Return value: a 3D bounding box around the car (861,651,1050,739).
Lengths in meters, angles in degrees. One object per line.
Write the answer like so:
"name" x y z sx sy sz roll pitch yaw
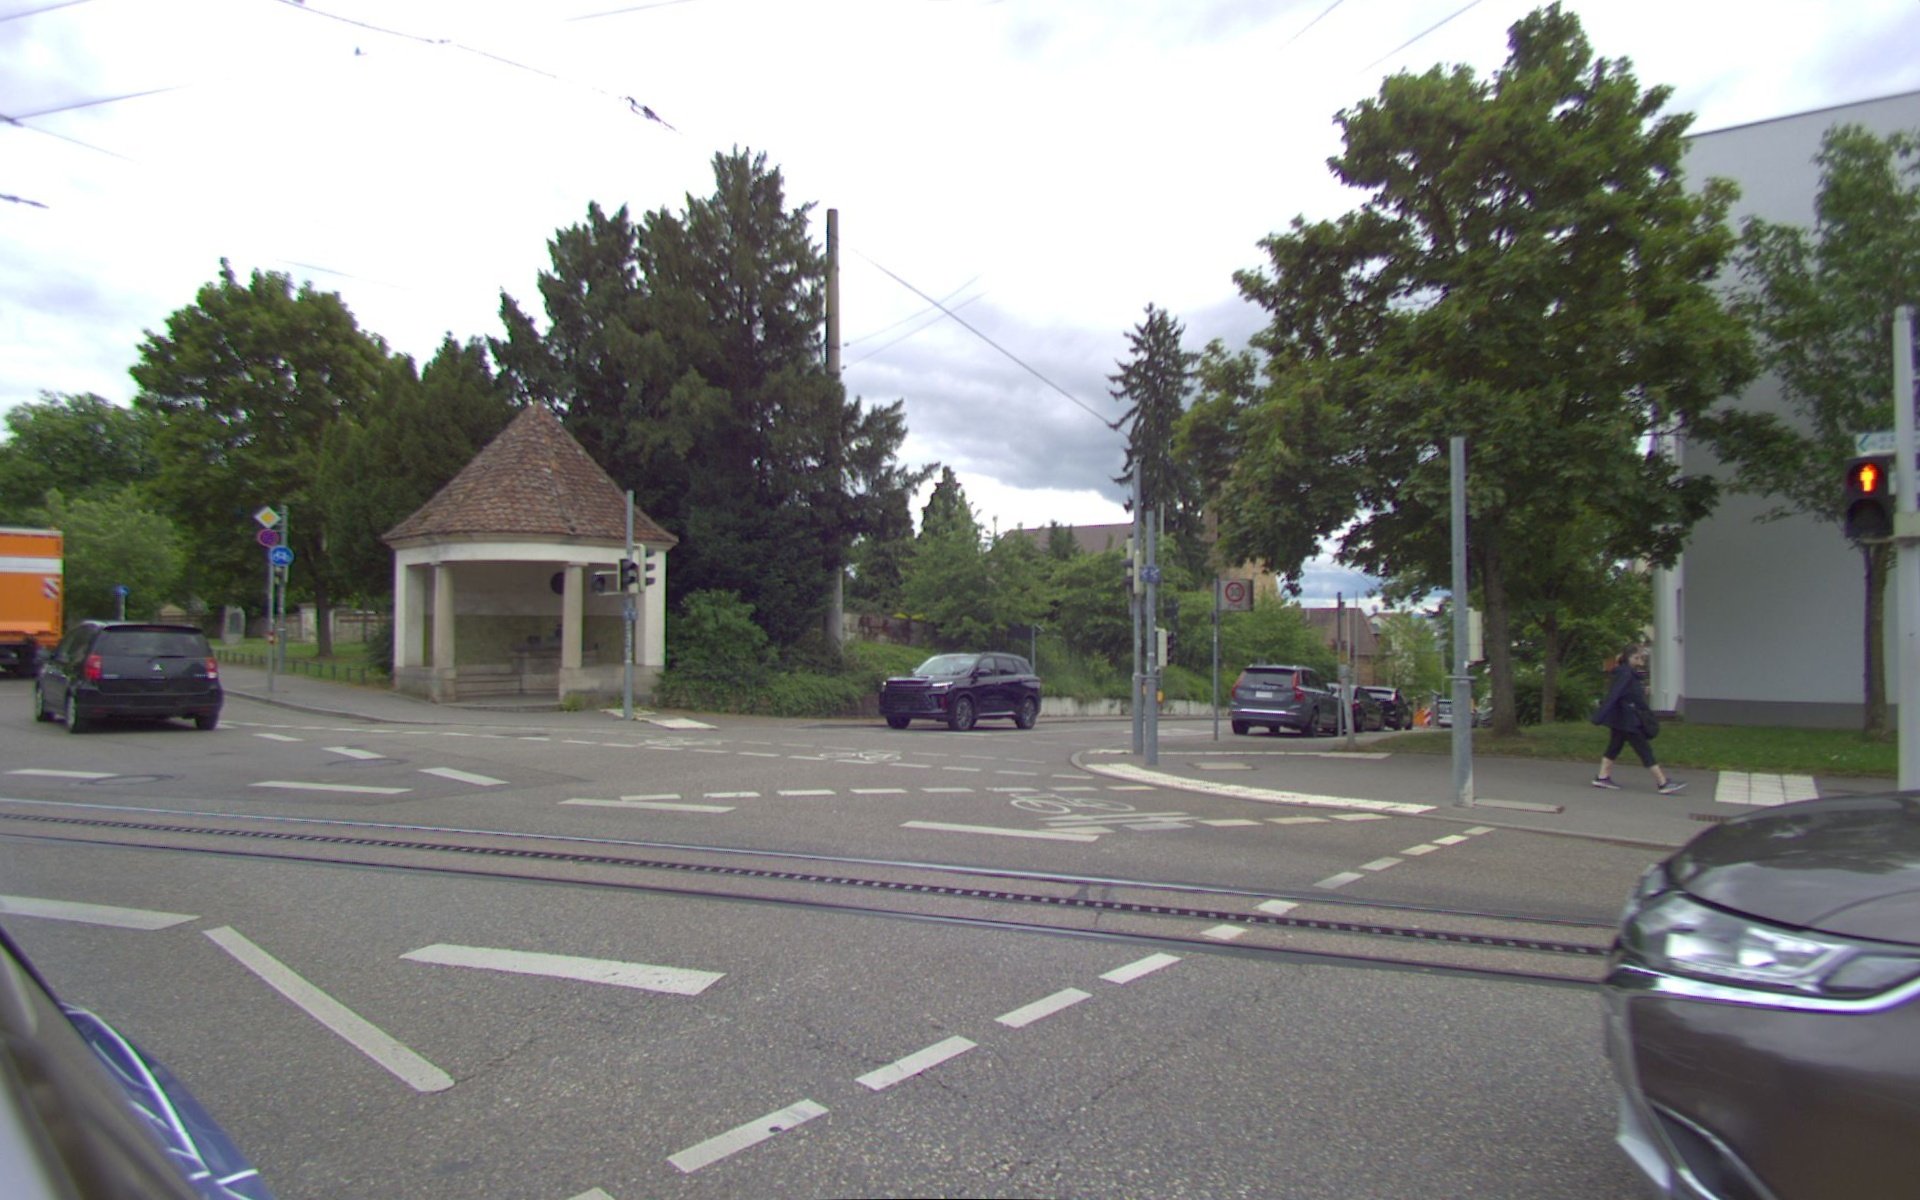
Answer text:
"car" 0.028 2.072 22.140 1.961 1.682 4.436 -1 -5 34

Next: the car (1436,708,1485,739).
"car" 27.592 6.804 55.749 1.994 1.529 3.955 -1 -8 33

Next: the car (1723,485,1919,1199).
"car" 3.626 0.611 0.993 4.486 1.682 1.811 -1 1 41

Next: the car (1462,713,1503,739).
"car" 34.167 8.249 66.158 1.994 1.529 3.955 -1 -8 33

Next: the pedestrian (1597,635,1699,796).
"pedestrian" 7.466 1.227 10.995 0.817 1.657 0.669 -4 -5 36

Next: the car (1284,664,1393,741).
"car" 11.172 2.940 29.699 1.995 2.029 4.416 -1 -4 35

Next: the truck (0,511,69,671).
"truck" -26.025 -0.194 26.396 8.462 3.747 2.741 -1 -5 40

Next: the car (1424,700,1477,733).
"car" 25.272 6.021 52.100 1.994 1.529 3.955 -1 -8 33

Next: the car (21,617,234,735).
"car" -12.342 1.060 14.941 3.729 1.517 1.658 -1 -4 39

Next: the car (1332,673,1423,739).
"car" 14.320 3.561 34.560 1.995 2.029 4.416 -1 -5 35

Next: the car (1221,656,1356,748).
"car" 8.288 2.554 25.253 1.995 2.029 4.416 -1 -6 35
